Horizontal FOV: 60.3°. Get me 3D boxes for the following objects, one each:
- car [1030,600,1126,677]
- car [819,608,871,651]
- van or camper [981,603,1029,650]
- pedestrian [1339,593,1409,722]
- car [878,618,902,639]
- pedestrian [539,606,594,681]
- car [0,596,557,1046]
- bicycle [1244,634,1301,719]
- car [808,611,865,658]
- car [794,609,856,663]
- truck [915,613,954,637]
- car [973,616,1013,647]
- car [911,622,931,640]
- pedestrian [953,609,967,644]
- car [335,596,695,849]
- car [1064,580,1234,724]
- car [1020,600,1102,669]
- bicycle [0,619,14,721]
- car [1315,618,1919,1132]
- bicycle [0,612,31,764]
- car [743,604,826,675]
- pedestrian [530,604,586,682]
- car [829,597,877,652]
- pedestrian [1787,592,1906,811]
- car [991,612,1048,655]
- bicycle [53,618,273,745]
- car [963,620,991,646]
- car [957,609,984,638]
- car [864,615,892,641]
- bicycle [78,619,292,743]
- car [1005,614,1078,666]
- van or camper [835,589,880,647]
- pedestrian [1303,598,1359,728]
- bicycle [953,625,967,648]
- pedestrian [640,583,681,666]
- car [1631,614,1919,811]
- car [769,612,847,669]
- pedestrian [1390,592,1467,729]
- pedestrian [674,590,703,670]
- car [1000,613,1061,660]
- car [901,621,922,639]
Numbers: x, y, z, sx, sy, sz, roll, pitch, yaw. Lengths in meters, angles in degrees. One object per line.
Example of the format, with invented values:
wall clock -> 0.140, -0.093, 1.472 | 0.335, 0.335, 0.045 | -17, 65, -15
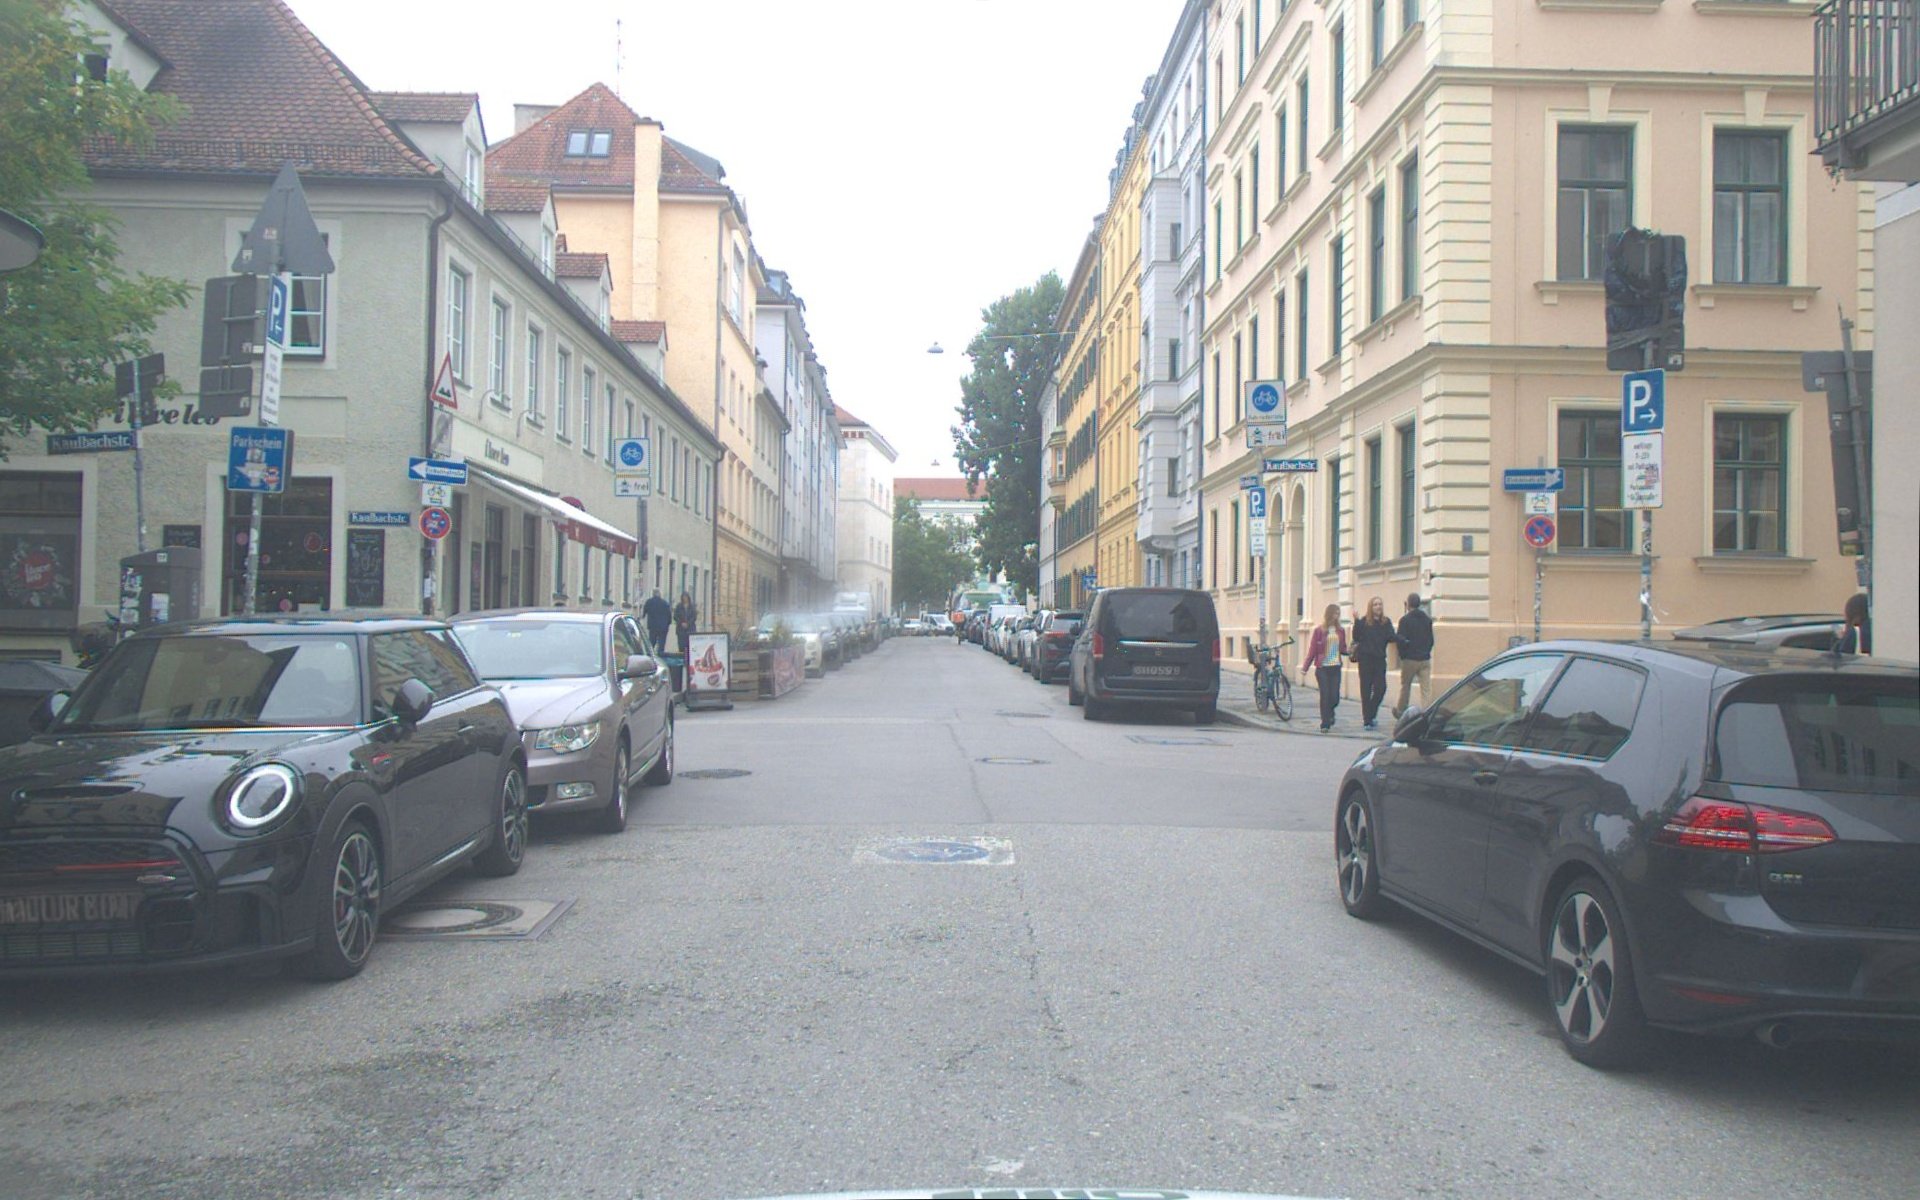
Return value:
car -> 2.539, 0.827, 36.368 | 1.719, 1.548, 4.273 | 1, -1, -1
car -> -4.098, 1.058, 59.374 | 1.719, 1.433, 4.101 | 1, -1, -3
van or camper -> 1.881, 1.121, 70.188 | 1.796, 1.905, 5.077 | 1, -1, -1
pedestrian -> 5.410, 0.753, 21.648 | 0.645, 1.649, 0.979 | 1, -2, -2
car -> -5.563, 2.285, 131.347 | 1.671, 1.638, 3.863 | 0, -1, 1
pedestrian -> -6.947, 0.773, 29.236 | 0.787, 1.313, 0.693 | 1, -2, -1
car -> -3.164, 0.754, 7.579 | 1.645, 1.497, 4.097 | 0, 0, 0
bicycle -> 4.415, 1.057, 23.423 | 0.456, 1.071, 1.729 | -1, 2, 0
car -> -4.081, 1.109, 54.442 | 1.780, 1.467, 4.127 | 0, 0, -5
car -> -3.981, 1.059, 49.210 | 1.720, 1.522, 4.197 | 1, -1, -4
truck -> -2.574, 2.503, 163.260 | 2.088, 2.287, 6.152 | 1, -2, -18
car -> 1.666, 1.632, 84.694 | 1.775, 1.490, 4.245 | 2, -1, -1
car -> -3.551, 2.861, 152.160 | 1.671, 1.609, 3.863 | 0, -1, 1
pedestrian -> 0.002, 1.307, 81.425 | 0.629, 1.744, 0.842 | 1, -2, -1
car -> -3.045, 0.745, 12.344 | 1.646, 1.497, 4.946 | 0, 0, -4
car -> 2.735, 0.734, 25.088 | 1.956, 1.897, 5.252 | 2, -1, 0
car -> 2.501, 0.865, 41.880 | 1.707, 1.611, 4.465 | 1, -1, -1
bicycle -> -9.290, 0.639, 15.103 | 0.372, 0.982, 1.714 | 3, -2, -4
car -> 2.926, 0.870, 7.037 | 1.642, 1.450, 4.201 | 3, 0, -3
bicycle -> -9.162, 0.650, 13.363 | 2.784, 1.233, 0.817 | 2, -2, 1
car -> -4.001, 0.883, 38.155 | 1.720, 1.501, 3.710 | 2, -1, -4
pedestrian -> -6.924, 0.746, 28.513 | 0.787, 1.313, 0.693 | 1, -2, -1
car -> -4.199, 0.943, 64.342 | 1.720, 2.030, 4.620 | 1, -1, -5
pedestrian -> 6.935, 0.786, 12.954 | 0.622, 1.676, 0.526 | 1, -2, -10
car -> 2.135, 1.228, 60.413 | 1.674, 1.480, 4.093 | 1, -1, -3
bicycle -> -7.264, 0.736, 15.100 | 1.780, 1.053, 0.392 | 3, 0, 1
car -> 1.111, 2.215, 110.868 | 1.775, 1.643, 4.154 | 1, -1, -1
car -> 0.743, 1.663, 116.751 | 1.814, 1.953, 4.768 | 1, -1, -1
car -> -5.133, 1.761, 103.489 | 1.672, 1.638, 3.861 | 0, -1, -2
bicycle -> -7.255, 0.750, 15.504 | 1.780, 1.053, 0.392 | 3, 0, 1
car -> 2.334, 1.151, 48.309 | 1.674, 1.429, 4.204 | 1, -1, -3
van or camper -> -4.302, 0.765, 69.854 | 1.719, 2.321, 5.270 | 1, -1, -2
pedestrian -> 4.837, 0.817, 21.613 | 0.462, 1.653, 1.069 | 1, -2, -2
bicycle -> 0.001, 1.802, 81.399 | 0.662, 1.114, 1.759 | 1, -2, 0
pedestrian -> -7.096, 0.586, 39.171 | 0.806, 1.931, 0.827 | 1, -2, -2
car -> 8.526, 0.996, 15.203 | 4.007, 1.633, 1.754 | 1, 1, -3
car -> -3.935, 1.027, 43.463 | 1.762, 1.363, 4.683 | 1, 0, -2
pedestrian -> 6.153, 0.791, 21.766 | 0.704, 1.747, 1.003 | 1, -2, -2
pedestrian -> -6.291, 0.704, 38.375 | 0.518, 1.813, 0.877 | 1, -2, -1
car -> 2.262, 1.187, 54.053 | 1.673, 1.433, 4.813 | 1, -1, -1
car -> -4.263, 2.636, 145.959 | 1.671, 1.609, 3.863 | 0, -1, 1
